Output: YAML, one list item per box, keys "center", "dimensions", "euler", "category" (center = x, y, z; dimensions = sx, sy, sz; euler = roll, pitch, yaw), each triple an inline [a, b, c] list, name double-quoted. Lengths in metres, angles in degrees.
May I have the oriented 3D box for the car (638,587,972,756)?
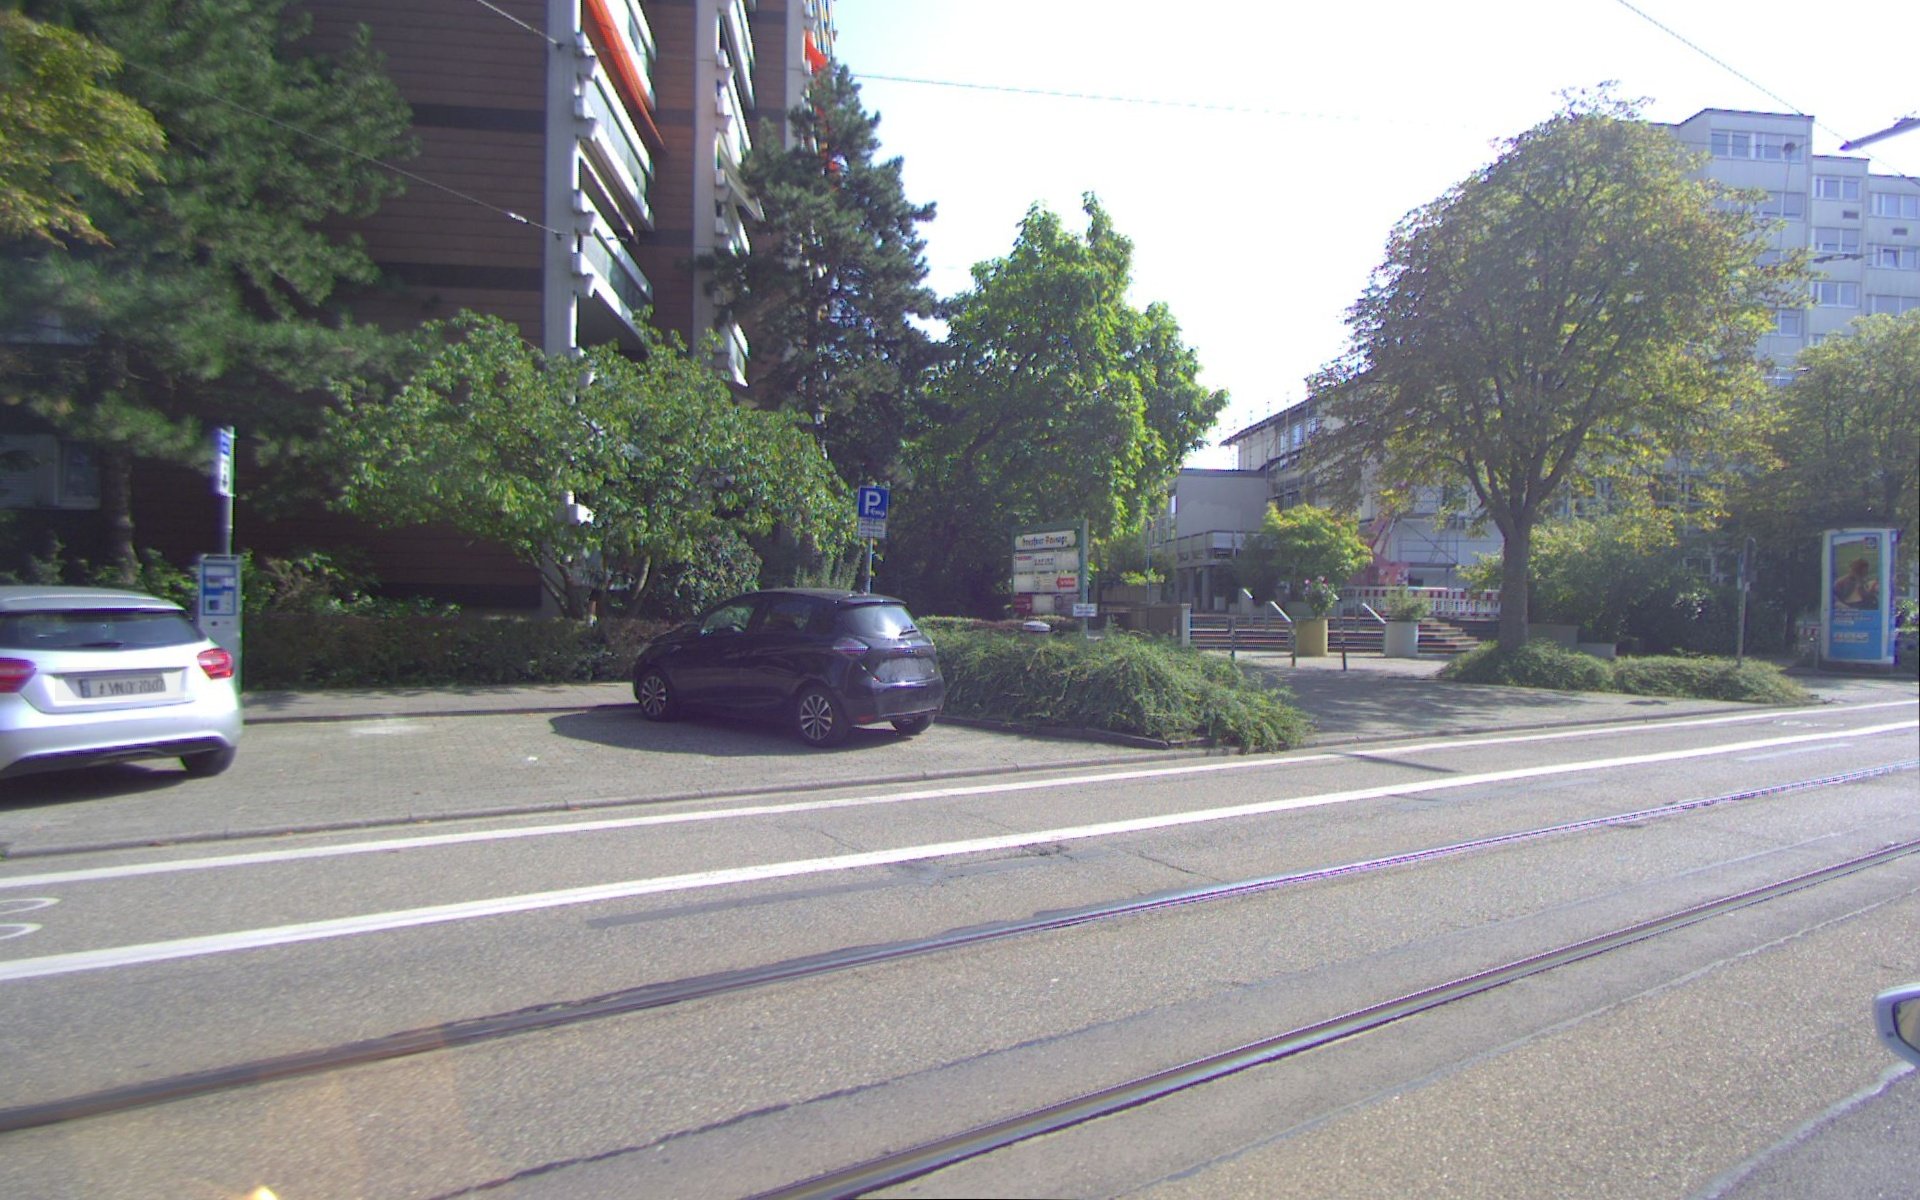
- center: [-1.818, 0.685, 11.394]
  dimensions: [3.584, 1.535, 1.617]
  euler: [2, 1, 34]
  category: "car"

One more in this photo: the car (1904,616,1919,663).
- center: [35.088, 1.405, 34.339]
  dimensions: [3.719, 1.643, 1.745]
  euler: [1, 0, 15]
  category: "car"

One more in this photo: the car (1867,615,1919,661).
- center: [32.128, 1.255, 32.524]
  dimensions: [3.720, 1.461, 1.694]
  euler: [1, 0, 17]
  category: "car"

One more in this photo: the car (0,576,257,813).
- center: [-7.468, 0.565, 7.804]
  dimensions: [3.928, 1.499, 1.786]
  euler: [1, 0, 30]
  category: "car"
